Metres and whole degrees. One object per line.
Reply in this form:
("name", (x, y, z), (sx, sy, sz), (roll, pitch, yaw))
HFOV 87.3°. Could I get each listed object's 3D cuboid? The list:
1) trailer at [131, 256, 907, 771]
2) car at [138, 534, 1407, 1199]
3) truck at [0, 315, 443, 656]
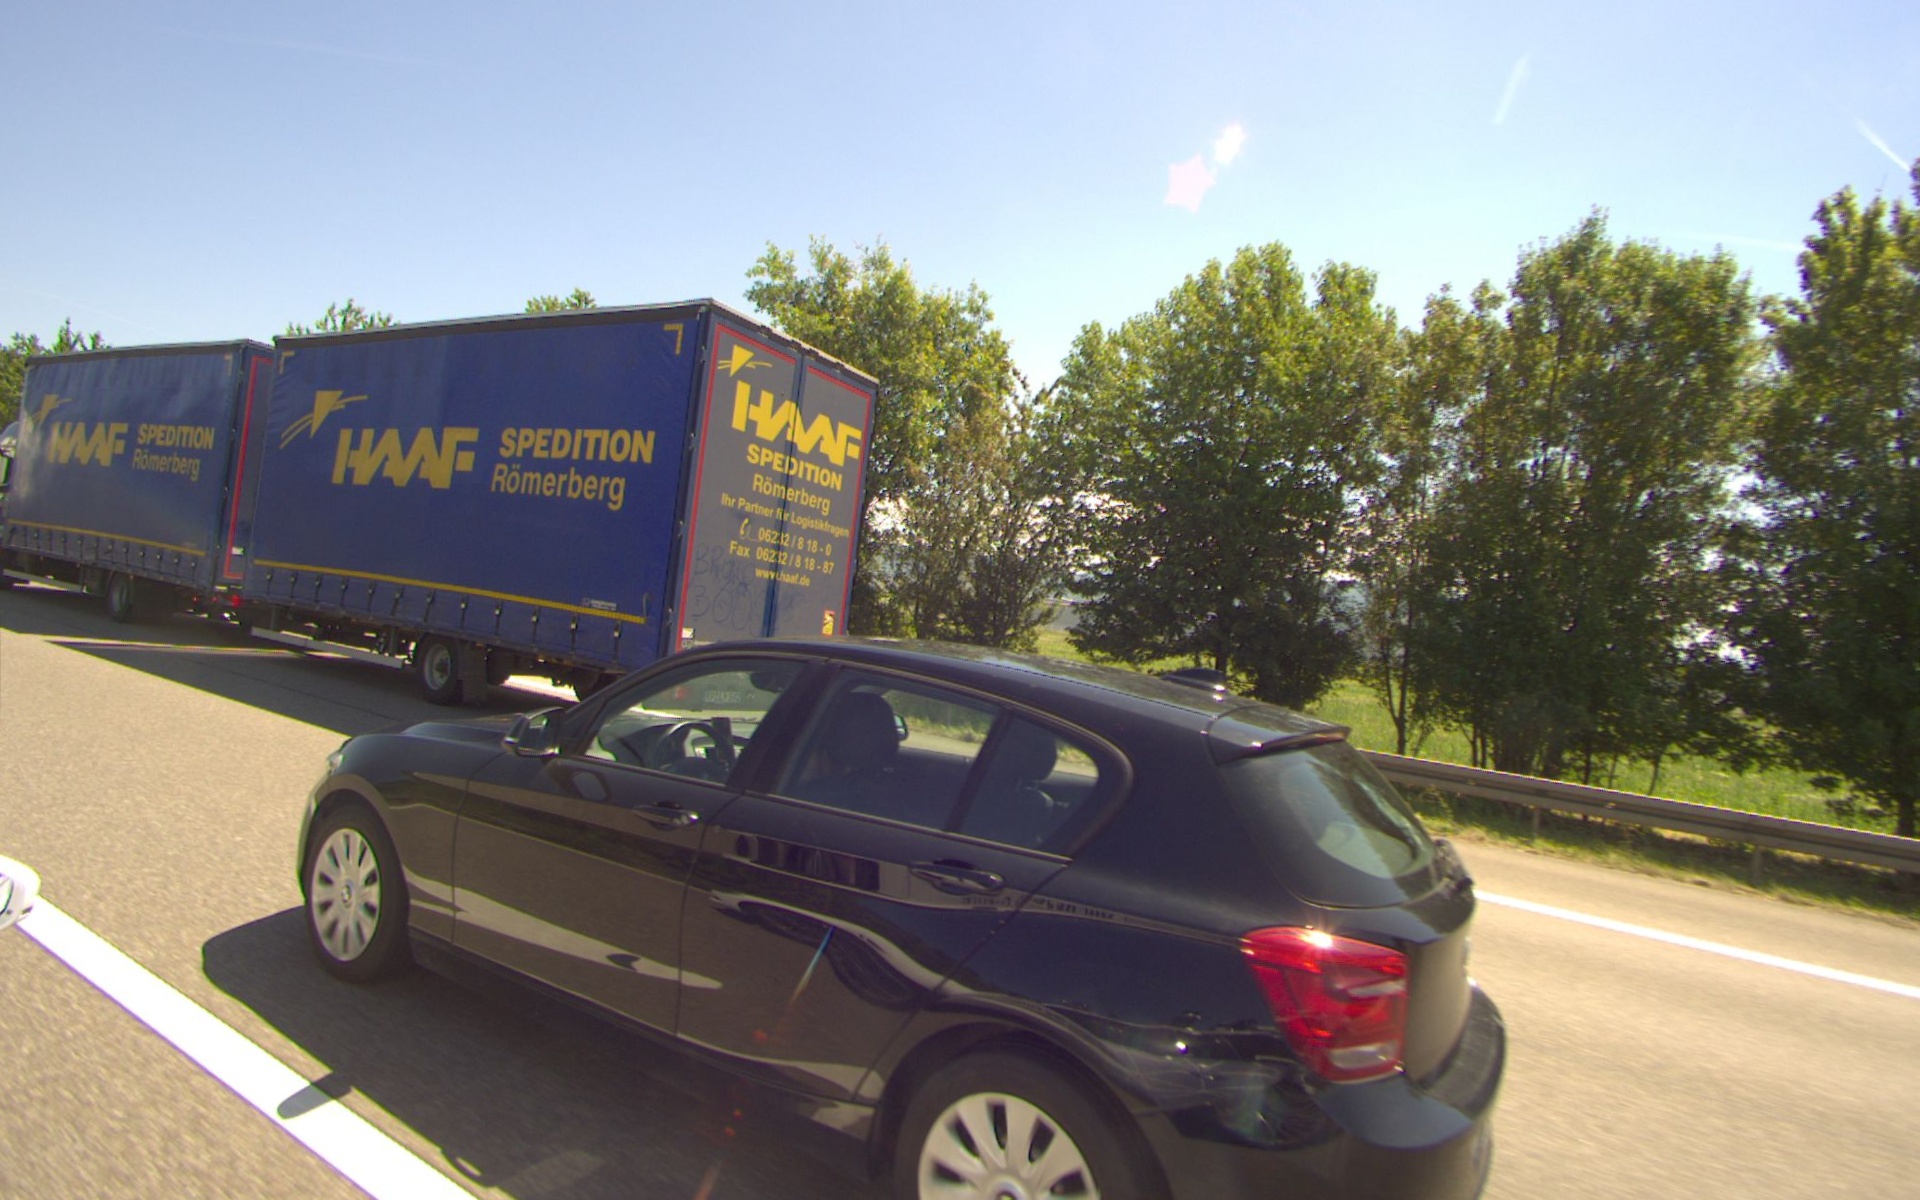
("trailer", (-6.007, -1.091, 12.273), (10.628, 4.256, 2.794), (6, 0, 32))
("car", (-0.935, 0.723, 3.721), (4.423, 1.435, 1.839), (6, -1, 32))
("truck", (-13.210, -1.880, 16.748), (10.628, 4.256, 2.794), (6, 0, 32))
